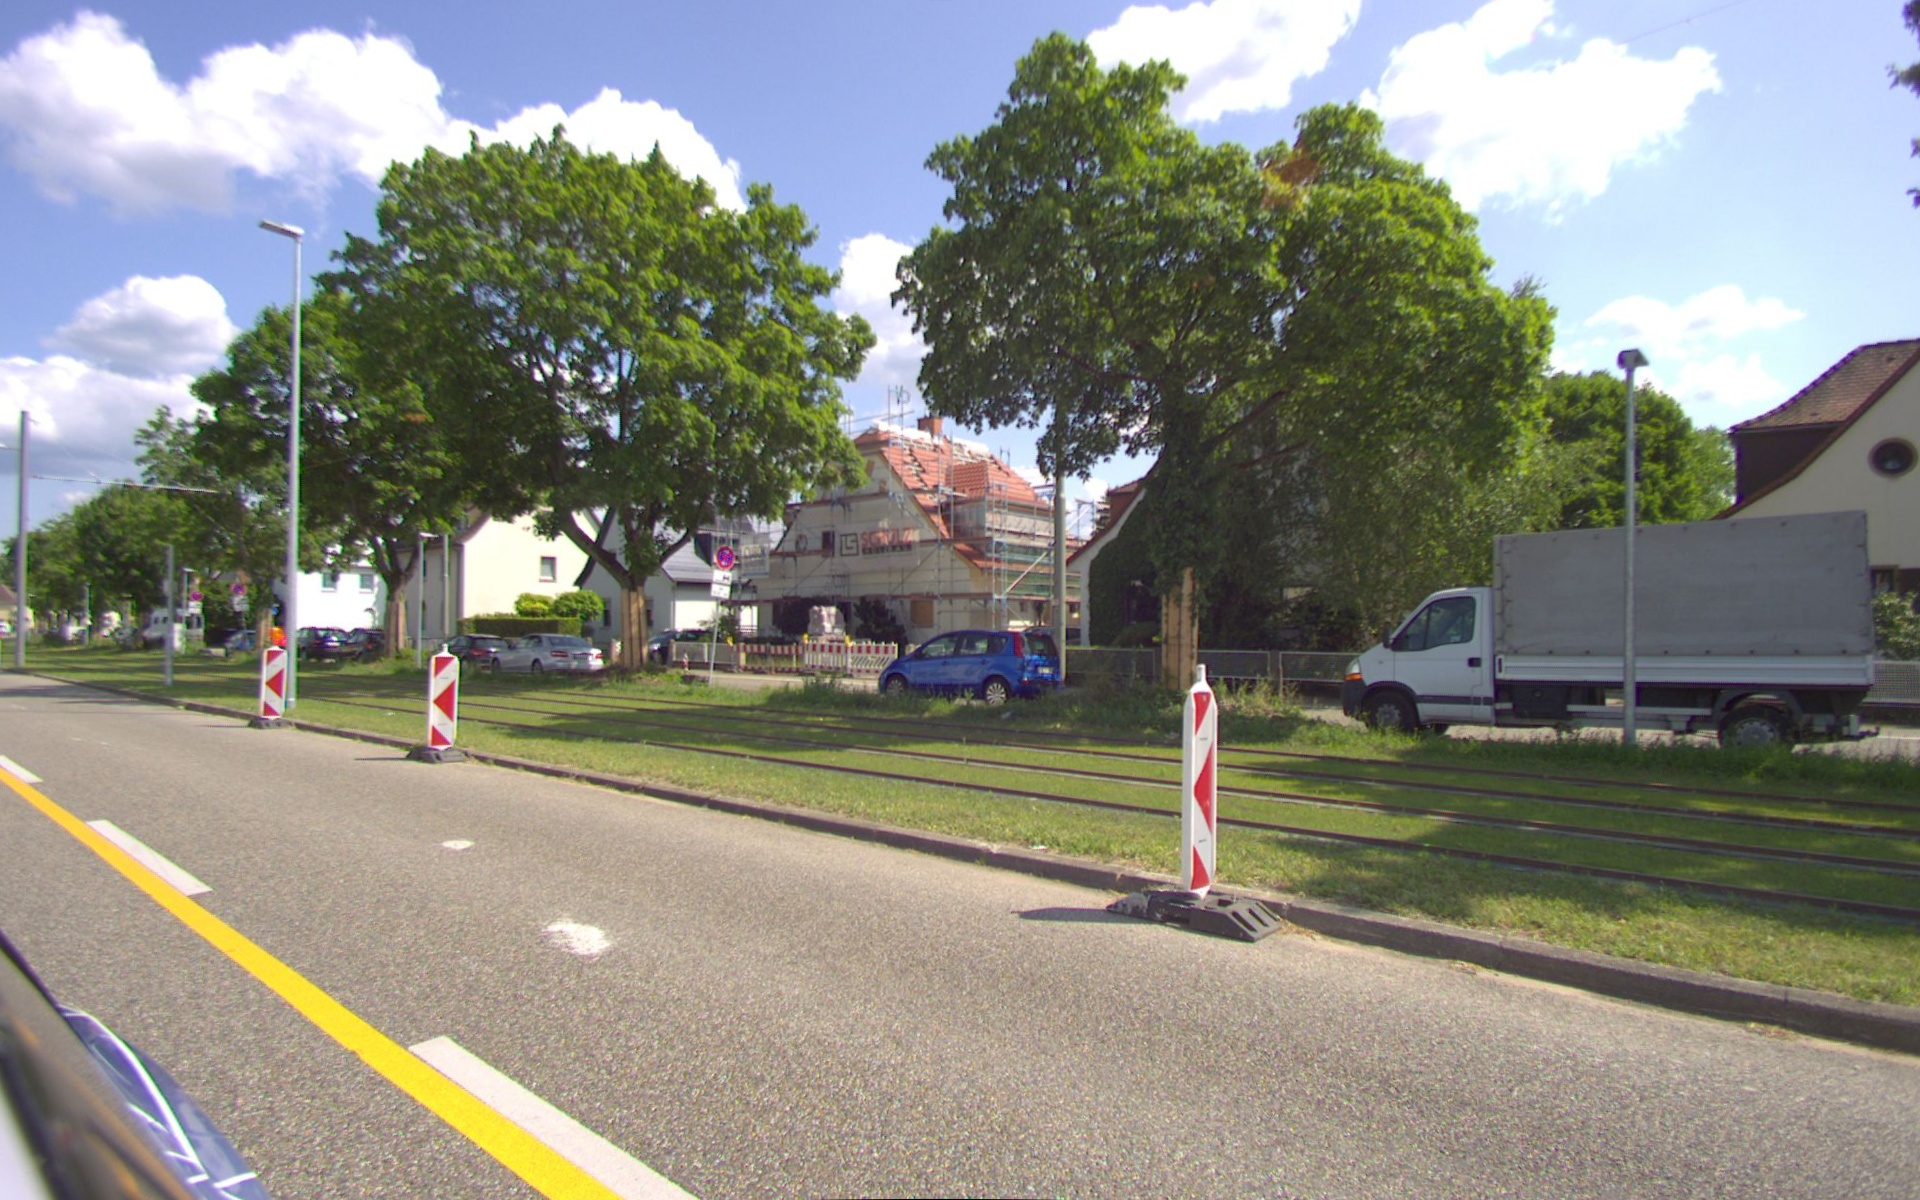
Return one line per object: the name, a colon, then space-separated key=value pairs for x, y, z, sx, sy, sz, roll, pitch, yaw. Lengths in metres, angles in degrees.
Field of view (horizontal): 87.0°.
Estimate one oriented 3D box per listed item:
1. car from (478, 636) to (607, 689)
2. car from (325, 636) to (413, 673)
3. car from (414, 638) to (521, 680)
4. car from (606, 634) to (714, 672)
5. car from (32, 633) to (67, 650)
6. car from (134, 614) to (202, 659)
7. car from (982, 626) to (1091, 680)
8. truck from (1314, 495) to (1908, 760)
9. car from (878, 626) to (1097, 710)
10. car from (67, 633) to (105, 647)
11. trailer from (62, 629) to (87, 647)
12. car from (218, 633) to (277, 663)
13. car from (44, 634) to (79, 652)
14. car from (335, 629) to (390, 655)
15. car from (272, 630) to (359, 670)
car: x=-13.306 y=1.932 z=32.130 sx=4.937 sy=1.494 sz=1.786 roll=-1 pitch=-3 yaw=42
car: x=-24.915 y=2.292 z=42.638 sx=3.998 sy=1.450 sz=1.973 roll=-1 pitch=-4 yaw=41
car: x=-17.294 y=2.061 z=35.489 sx=3.850 sy=1.328 sz=1.973 roll=-1 pitch=-5 yaw=41
car: x=-12.616 y=2.204 z=42.690 sx=1.981 sy=1.412 sz=3.945 roll=-1 pitch=-1 yaw=41
car: x=-87.571 y=3.952 z=97.347 sx=4.321 sy=1.551 sz=1.972 roll=-1 pitch=-3 yaw=42
car: x=-50.465 y=2.353 z=64.439 sx=6.455 sy=2.751 sz=1.974 roll=-2 pitch=-3 yaw=39
car: x=2.590 y=1.753 z=33.735 sx=1.872 sy=1.697 sz=3.610 roll=-1 pitch=-3 yaw=40
truck: x=8.161 y=0.442 z=13.436 sx=6.272 sy=2.789 sz=1.973 roll=-2 pitch=-6 yaw=41
car: x=0.502 y=1.290 z=20.136 sx=3.996 sy=1.464 sz=1.974 roll=-1 pitch=-3 yaw=39
car: x=-71.965 y=3.288 z=83.319 sx=3.834 sy=1.101 sz=1.762 roll=-1 pitch=-3 yaw=41
trailer: x=-76.075 y=3.234 z=86.959 sx=2.281 sy=1.530 sz=1.286 roll=-1 pitch=-3 yaw=41
car: x=-37.223 y=2.482 z=52.843 sx=3.889 sy=1.447 sz=1.734 roll=-1 pitch=-3 yaw=43
car: x=-83.441 y=4.012 z=93.941 sx=4.099 sy=1.590 sz=1.885 roll=-3 pitch=-7 yaw=42
car: x=-38.692 y=2.719 z=65.520 sx=3.998 sy=1.589 sz=1.883 roll=-1 pitch=-3 yaw=41
car: x=-29.544 y=2.244 z=46.342 sx=4.385 sy=1.704 sz=1.974 roll=-1 pitch=-3 yaw=38
